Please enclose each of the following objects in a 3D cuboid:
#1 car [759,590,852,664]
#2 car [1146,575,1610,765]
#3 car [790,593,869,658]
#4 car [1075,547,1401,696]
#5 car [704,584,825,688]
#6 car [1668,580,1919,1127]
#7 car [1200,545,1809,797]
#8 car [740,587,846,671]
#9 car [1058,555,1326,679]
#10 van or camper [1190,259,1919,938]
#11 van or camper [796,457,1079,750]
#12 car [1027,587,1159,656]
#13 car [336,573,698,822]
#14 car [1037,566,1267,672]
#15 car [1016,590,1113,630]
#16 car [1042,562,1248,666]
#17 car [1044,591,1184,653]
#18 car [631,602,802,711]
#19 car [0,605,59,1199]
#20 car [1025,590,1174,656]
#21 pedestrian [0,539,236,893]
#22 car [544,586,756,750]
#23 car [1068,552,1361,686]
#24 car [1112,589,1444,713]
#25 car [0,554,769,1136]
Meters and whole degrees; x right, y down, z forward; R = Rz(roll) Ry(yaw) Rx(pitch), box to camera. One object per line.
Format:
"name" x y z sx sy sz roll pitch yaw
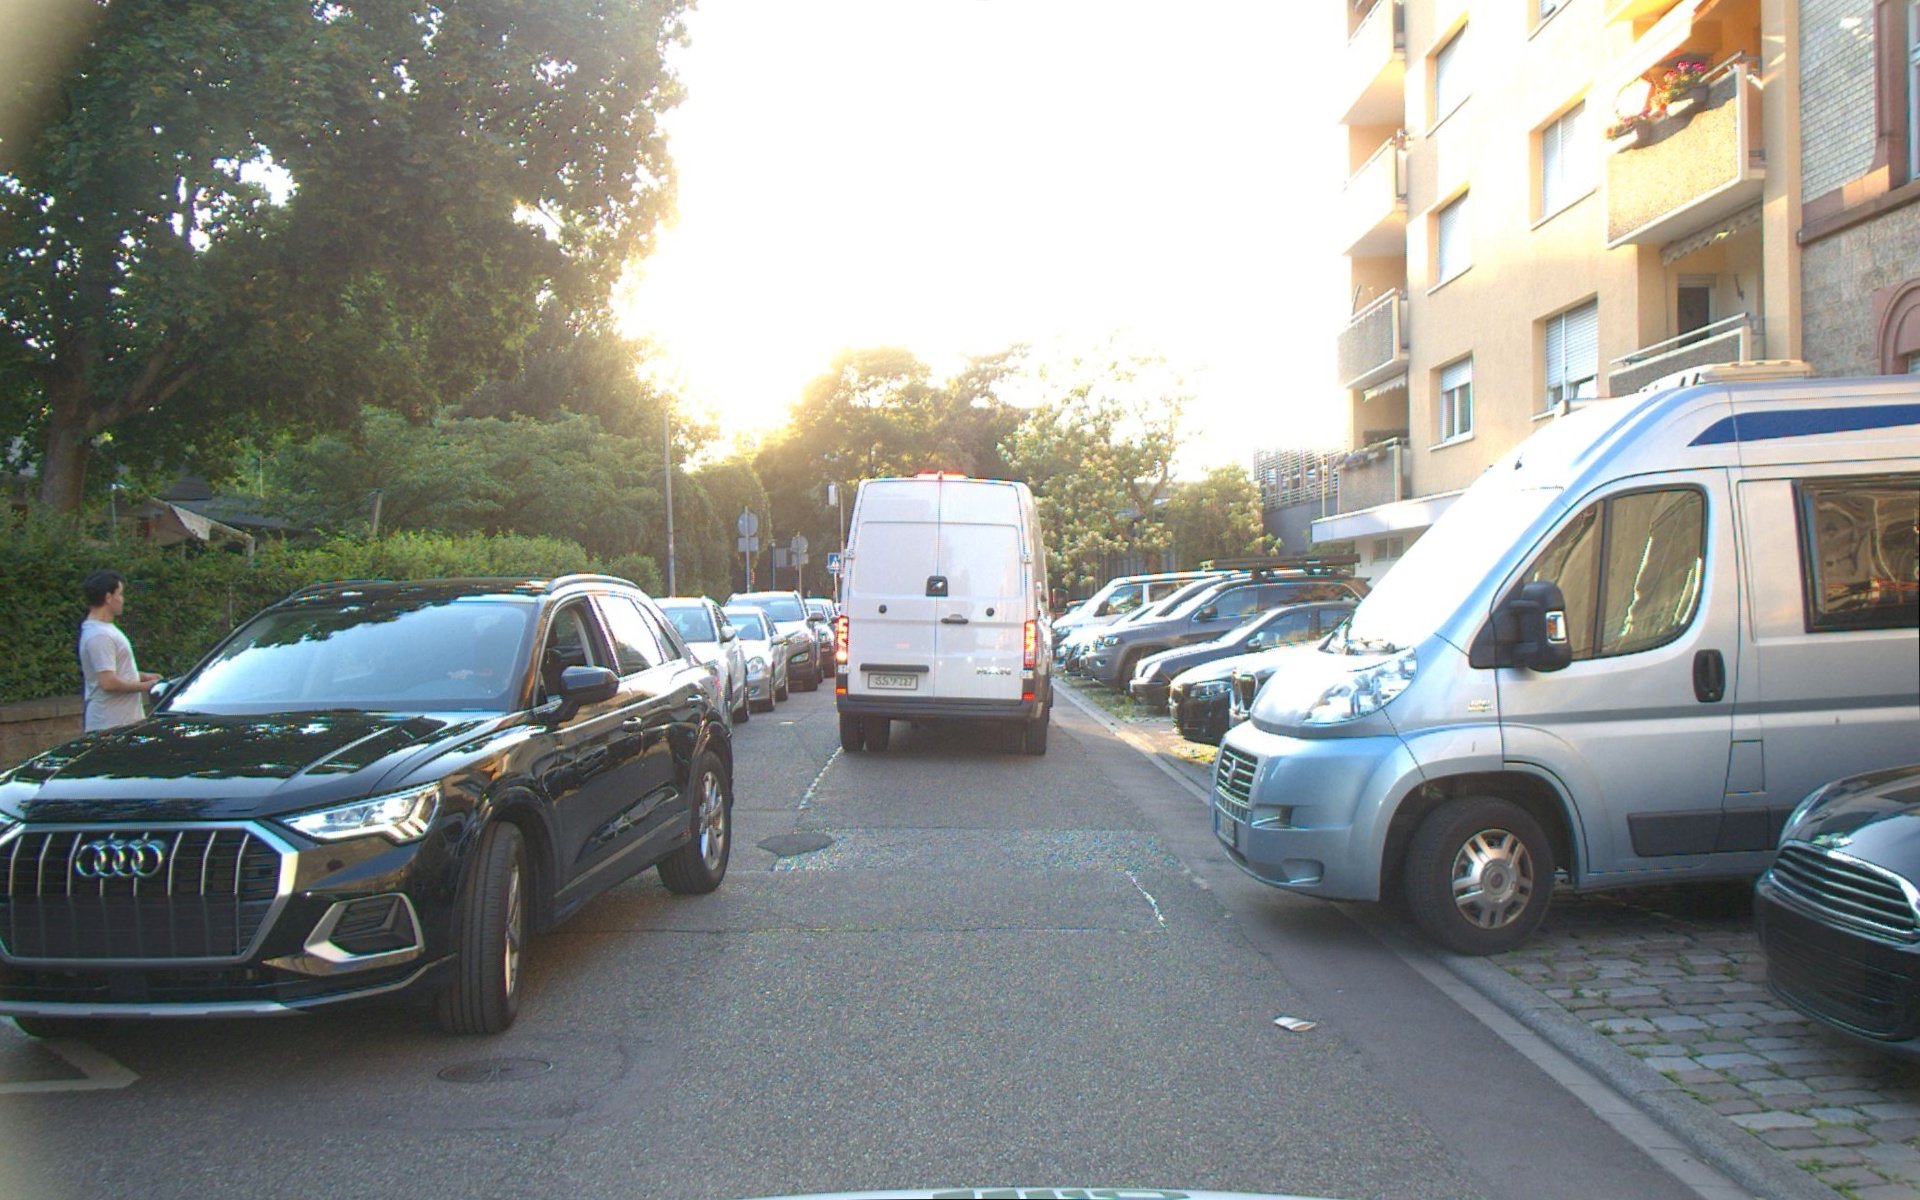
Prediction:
"car" -3.561 0.596 38.686 1.953 1.646 3.998 0 0 -2
"car" 3.937 0.624 15.985 3.910 1.479 1.833 -3 0 -5
"car" -3.460 0.648 44.407 1.953 1.646 3.998 0 0 -2
"car" 4.149 0.318 25.251 4.611 2.183 1.999 0 0 -2
"car" -3.375 0.586 29.169 1.954 1.691 3.996 0 0 -5
"car" 4.554 0.612 5.161 3.854 1.512 1.787 -3 -1 0
"car" 4.329 0.516 13.478 4.350 1.758 1.770 -2 0 -7
"car" -3.403 0.566 34.376 1.953 1.646 3.998 0 0 -2
"car" 4.189 0.302 30.392 4.611 2.183 1.999 0 0 -2
"van or camper" 4.181 0.004 8.020 5.809 2.818 2.109 0 0 -2
"van or camper" 0.006 0.018 17.959 2.402 2.591 6.087 1 0 5
"car" 4.009 0.637 50.478 3.904 2.049 2.000 0 0 1
"car" -3.430 0.679 13.619 1.746 1.659 4.001 -3 0 1
"car" 4.010 0.383 35.067 4.611 2.183 1.999 0 0 -2
"car" 4.410 0.424 70.438 3.908 1.646 1.998 0 0 -4
"car" 4.105 0.313 37.254 4.405 2.269 2.031 0 0 -1
"car" 4.435 0.614 48.163 3.905 1.758 2.000 0 0 0
"car" -3.416 0.755 23.946 1.953 1.422 3.999 0 0 -1
"car" -3.154 0.803 2.242 1.603 1.504 3.992 -2 0 0
"car" 3.765 0.610 45.116 3.905 1.758 2.000 0 0 0
"pedestrian" -4.625 0.610 9.115 0.919 1.862 0.786 0 0 -2
"car" -3.398 0.682 18.848 1.819 1.582 4.097 -2 0 -3
"car" 4.230 0.310 27.965 4.611 2.183 1.999 0 0 -2
"car" 4.275 0.666 22.640 4.151 1.450 1.719 -2 0 -2
"car" -2.203 0.686 6.903 1.766 1.597 4.568 -1 0 7
